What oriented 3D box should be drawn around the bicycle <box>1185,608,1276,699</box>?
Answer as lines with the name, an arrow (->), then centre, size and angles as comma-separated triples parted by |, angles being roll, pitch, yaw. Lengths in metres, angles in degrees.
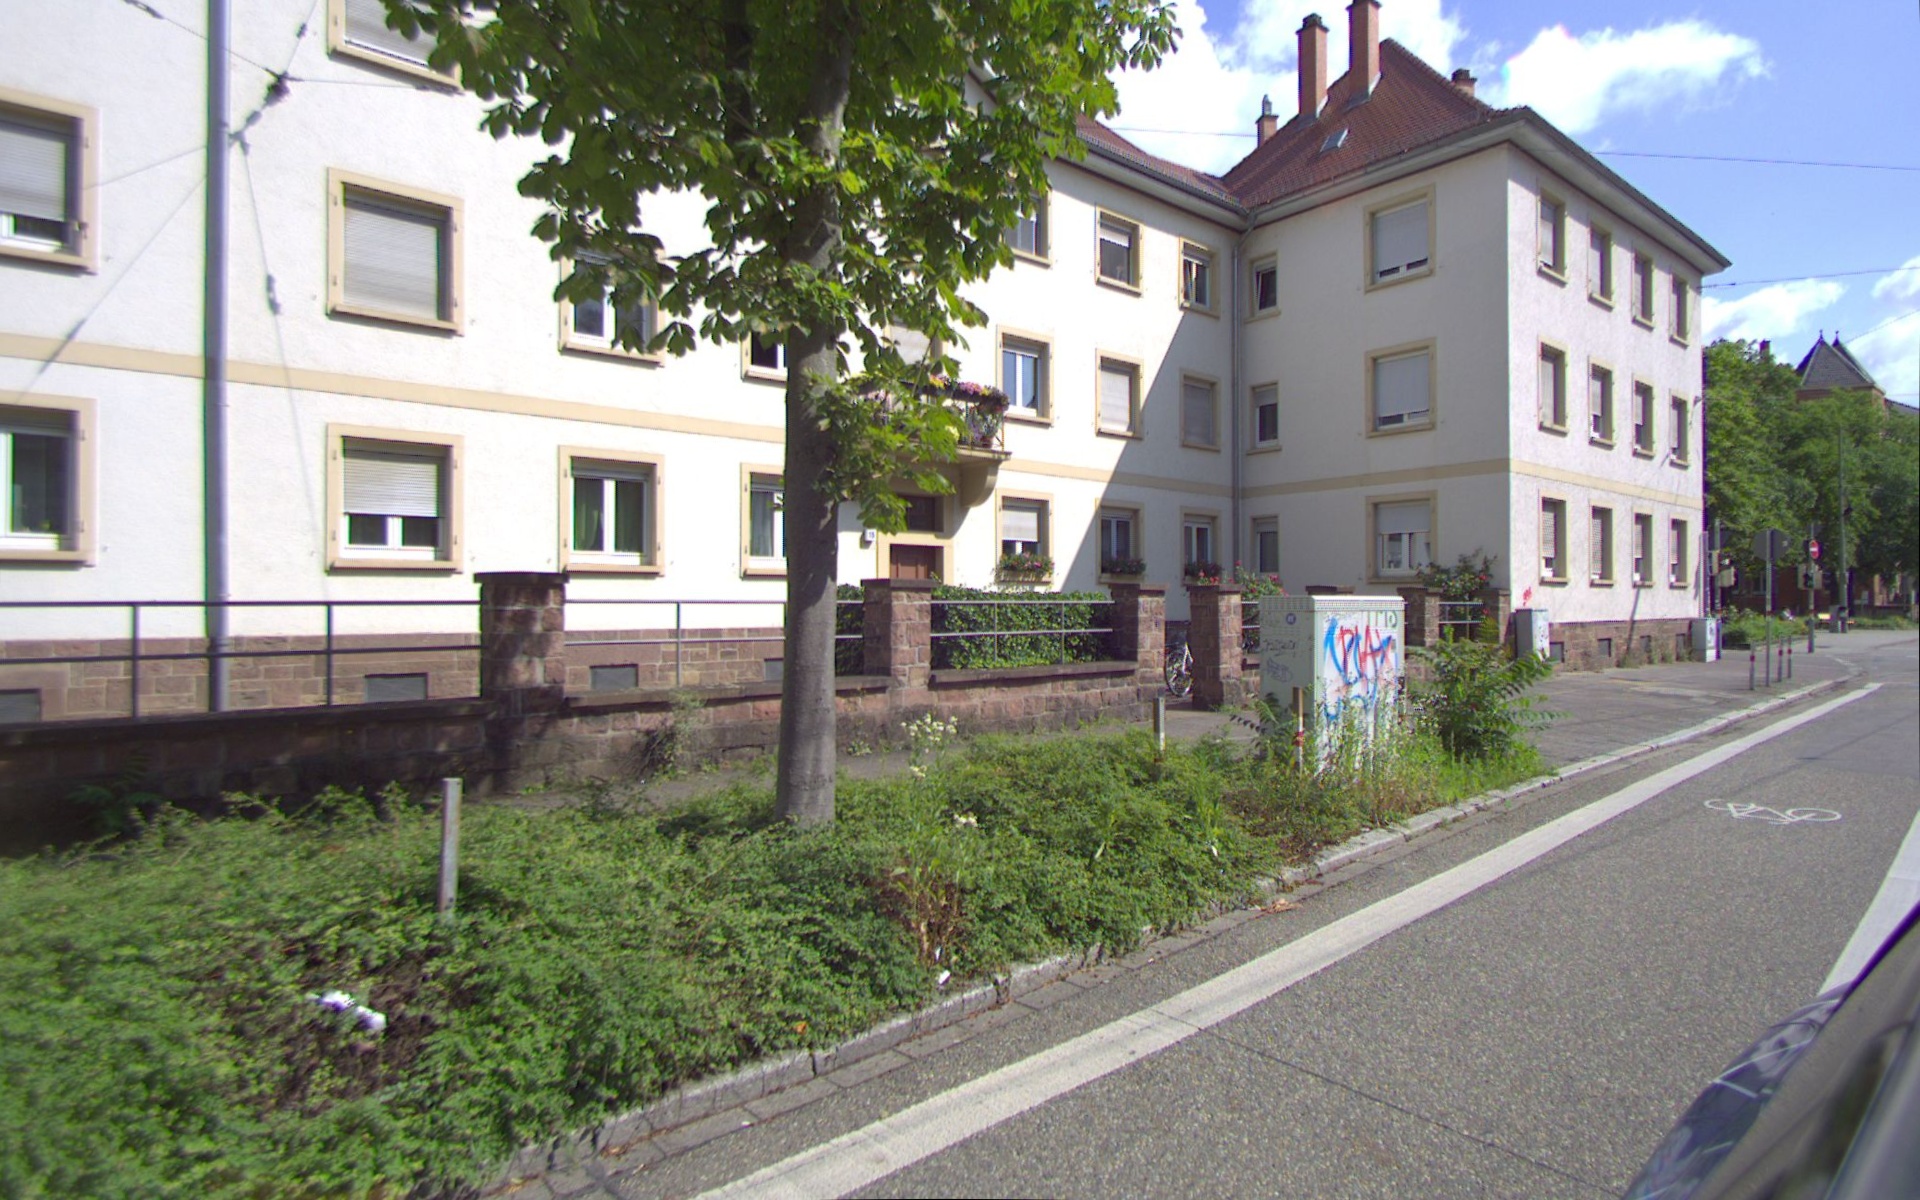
bicycle -> 3.867, 0.730, 14.423 | 1.465, 1.216, 0.505 | 0, -1, -41

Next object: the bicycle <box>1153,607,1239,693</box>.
bicycle -> 3.543, 0.717, 15.130 | 1.465, 1.216, 0.505 | 0, -1, -42

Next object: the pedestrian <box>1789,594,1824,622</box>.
pedestrian -> 39.410, 0.380, 47.116 | 1.157, 1.217, 0.892 | 4, 2, 44

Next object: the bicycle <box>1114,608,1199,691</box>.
bicycle -> 3.047, 0.731, 15.620 | 1.465, 1.216, 0.505 | 0, -1, -42
